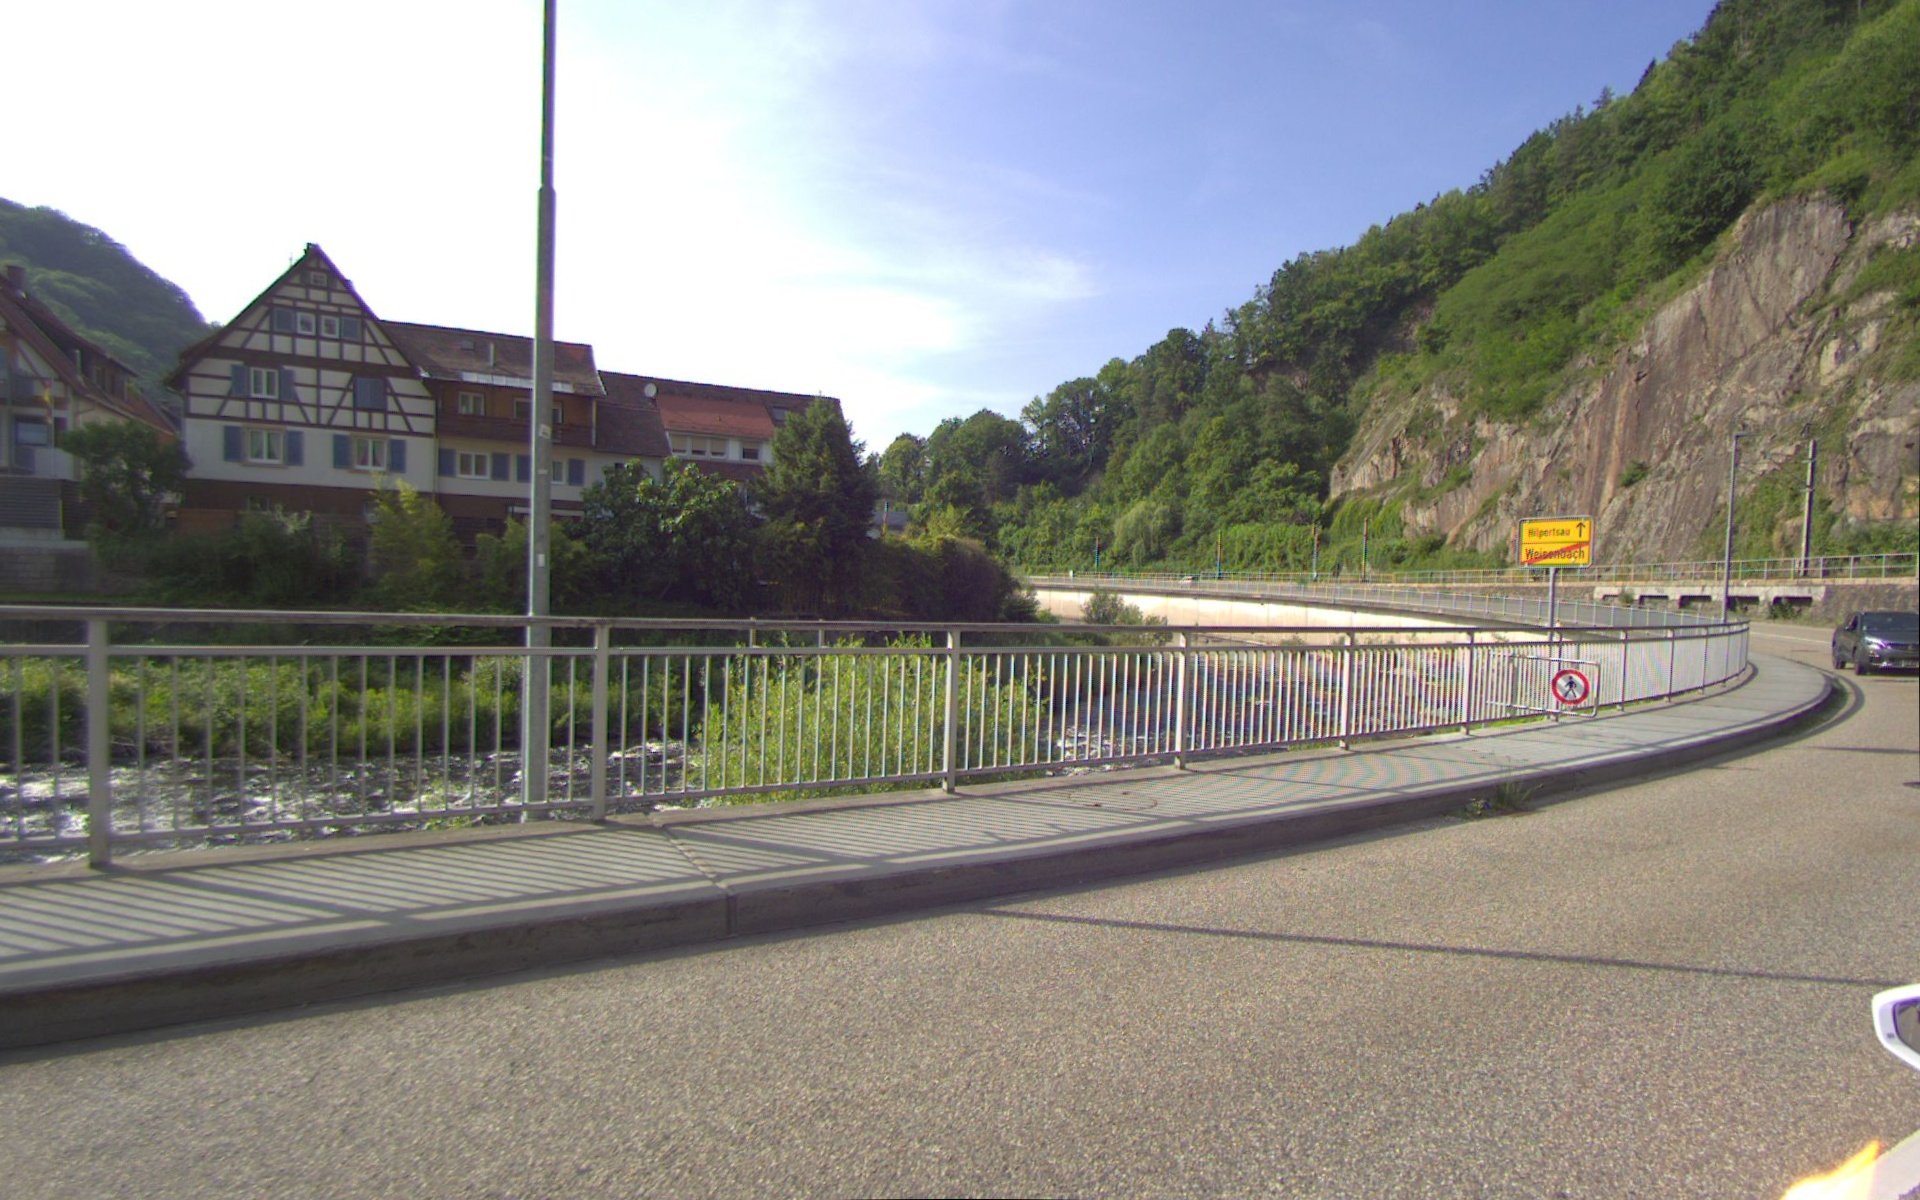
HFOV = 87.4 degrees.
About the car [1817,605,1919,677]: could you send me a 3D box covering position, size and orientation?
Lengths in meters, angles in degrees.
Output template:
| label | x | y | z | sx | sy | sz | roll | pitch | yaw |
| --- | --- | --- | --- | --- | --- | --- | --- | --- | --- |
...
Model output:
| label | x | y | z | sx | sy | sz | roll | pitch | yaw |
| --- | --- | --- | --- | --- | --- | --- | --- | --- | --- |
| car | 24.323 | 1.027 | 26.511 | 1.789 | 1.665 | 3.992 | -3 | -1 | 29 |
